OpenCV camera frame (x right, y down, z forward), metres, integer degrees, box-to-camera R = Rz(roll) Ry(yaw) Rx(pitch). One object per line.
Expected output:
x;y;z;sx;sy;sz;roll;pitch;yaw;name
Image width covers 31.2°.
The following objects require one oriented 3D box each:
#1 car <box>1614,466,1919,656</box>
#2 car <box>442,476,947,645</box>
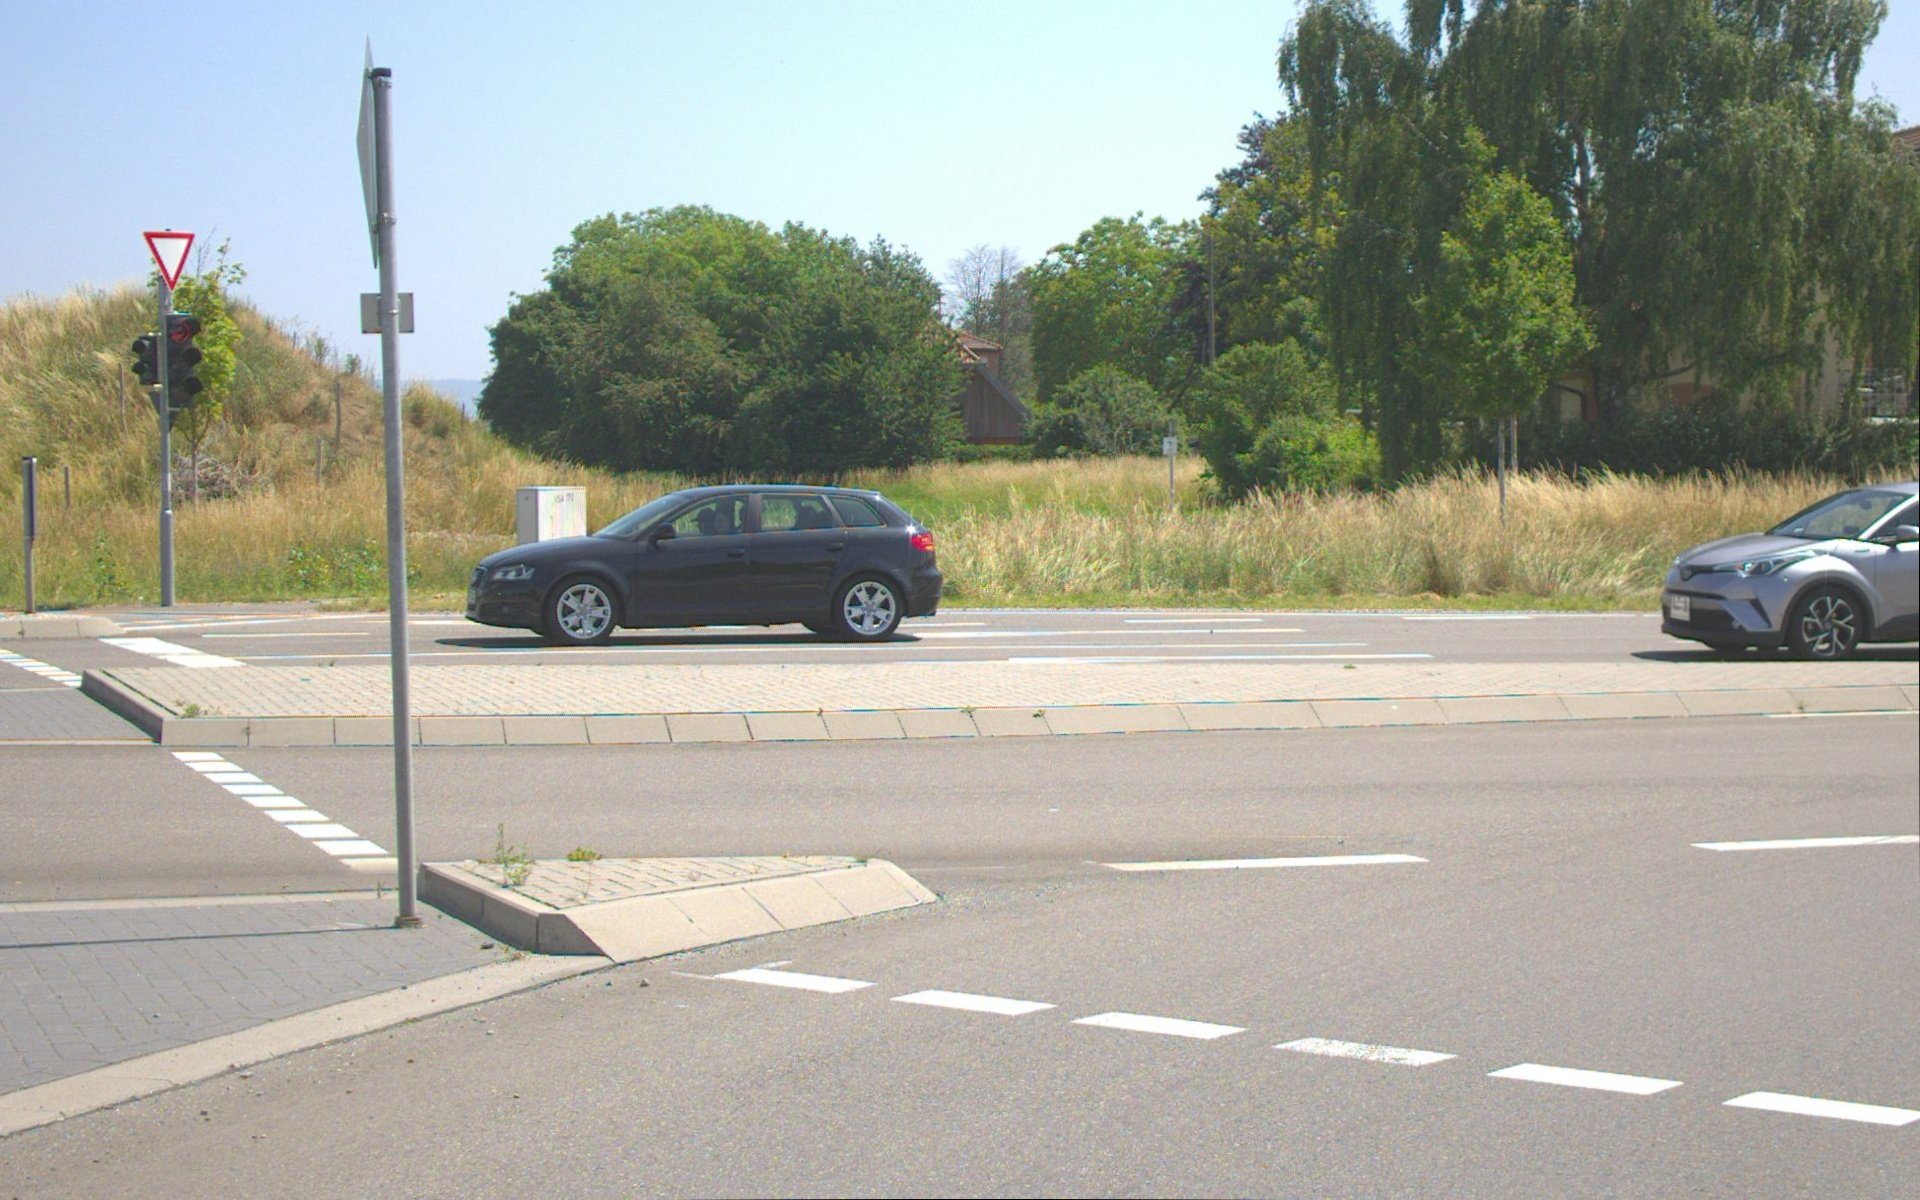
8.229;-0.337;30.076;4.535;1.538;1.872;1;3;-17;car
-2.411;-0.392;30.978;4.259;1.364;1.777;-1;3;-15;car
